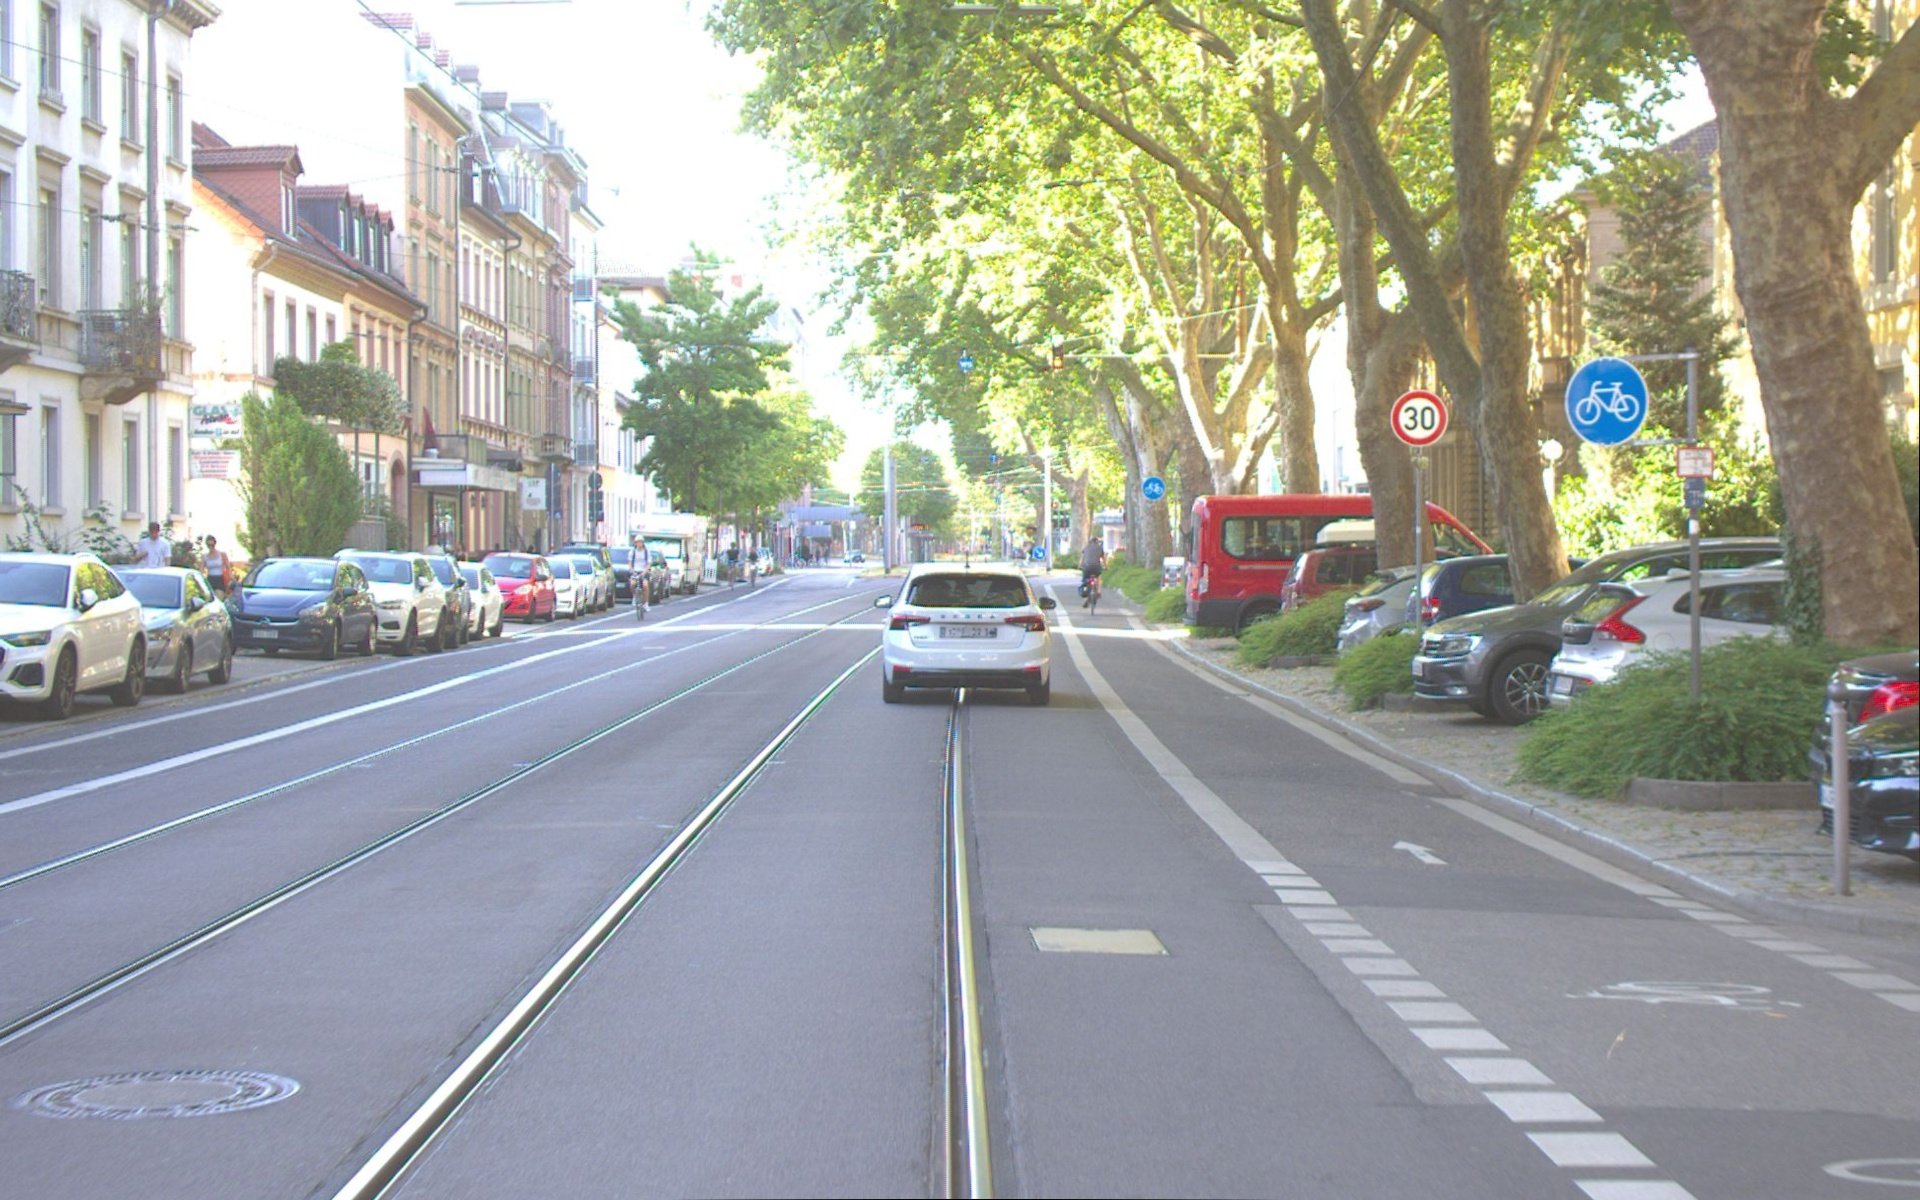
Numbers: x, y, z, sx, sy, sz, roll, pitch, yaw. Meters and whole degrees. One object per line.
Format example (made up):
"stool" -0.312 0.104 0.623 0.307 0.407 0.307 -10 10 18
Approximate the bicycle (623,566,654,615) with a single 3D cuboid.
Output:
"bicycle" -7.314 -0.212 78.185 0.481 1.082 1.846 0 1 1

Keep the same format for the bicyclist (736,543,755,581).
"bicyclist" -8.543 -1.509 136.949 0.638 1.498 1.069 -1 1 1

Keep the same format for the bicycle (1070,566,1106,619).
"bicycle" 2.841 -0.181 76.576 0.680 1.151 2.964 1 1 0

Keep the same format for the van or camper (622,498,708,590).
"van or camper" -10.468 -1.996 122.476 2.217 3.129 7.113 1 1 2

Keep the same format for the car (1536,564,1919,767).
"car" 6.720 0.484 27.114 4.027 1.475 1.681 -1 1 -1

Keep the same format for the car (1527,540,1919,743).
"car" 7.088 0.327 29.745 4.027 1.638 1.681 -1 1 -2

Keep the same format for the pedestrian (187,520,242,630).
"pedestrian" -12.368 -0.422 57.049 0.759 1.815 0.830 0 1 -3

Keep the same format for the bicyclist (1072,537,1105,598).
"bicyclist" 2.869 -0.721 76.709 0.679 1.334 0.525 1 1 0

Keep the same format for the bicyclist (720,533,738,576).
"bicyclist" -8.756 -1.731 130.509 0.535 1.629 0.896 -2 1 2

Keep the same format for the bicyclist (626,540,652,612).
"bicyclist" -7.310 -0.542 78.318 0.473 1.630 0.800 0 1 1

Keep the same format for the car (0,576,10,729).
"car" -9.657 0.503 30.313 1.699 1.415 4.001 1 1 -4

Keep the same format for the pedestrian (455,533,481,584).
"pedestrian" -14.257 -1.206 99.637 0.635 1.455 0.657 1 1 -16

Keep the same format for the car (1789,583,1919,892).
"car" 6.585 0.661 17.826 4.096 1.486 1.831 0 1 -2

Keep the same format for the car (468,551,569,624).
"car" -9.855 -0.302 76.965 1.569 1.557 3.448 0 1 4

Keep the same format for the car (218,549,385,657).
"car" -9.690 0.010 50.841 1.554 1.510 3.924 -1 1 2

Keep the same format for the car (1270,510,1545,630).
"car" 6.712 -0.442 51.808 3.818 1.643 1.767 -2 0 -2

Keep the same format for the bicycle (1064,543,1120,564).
"bicycle" 6.727 -2.365 175.176 2.772 0.996 0.592 1 1 15

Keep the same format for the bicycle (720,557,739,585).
"bicycle" -8.740 -1.113 130.514 0.484 1.044 2.039 -2 1 2

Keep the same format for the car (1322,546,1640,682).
"car" 6.330 0.161 42.051 3.595 1.512 1.694 -2 1 0

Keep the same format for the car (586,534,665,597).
"car" -10.080 -1.063 103.992 1.964 1.775 4.938 2 1 -2

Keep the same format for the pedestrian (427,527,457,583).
"pedestrian" -14.976 -1.302 99.407 0.771 1.628 0.657 1 1 -15

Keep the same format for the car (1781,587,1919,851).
"car" 7.081 0.675 20.372 4.097 1.486 1.681 0 1 5

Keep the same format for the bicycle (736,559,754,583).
"bicycle" -8.547 -1.161 137.012 0.499 0.940 1.921 -2 1 2

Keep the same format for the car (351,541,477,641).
"car" -9.704 -0.191 61.380 1.856 1.698 4.660 -1 1 -5

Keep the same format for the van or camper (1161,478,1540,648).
"van or camper" 6.347 -0.636 56.372 5.814 2.510 2.288 -2 2 -2

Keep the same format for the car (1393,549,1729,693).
"car" 6.878 0.237 39.567 3.595 1.594 1.541 0 0 1

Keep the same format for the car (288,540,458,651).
"car" -9.489 -0.112 55.891 1.857 1.698 4.763 -1 1 1

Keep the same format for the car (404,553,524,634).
"car" -9.617 -0.156 66.899 1.687 1.472 4.258 1 1 0

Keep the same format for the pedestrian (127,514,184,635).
"pedestrian" -13.382 -0.430 57.215 0.759 2.007 0.830 0 1 -2

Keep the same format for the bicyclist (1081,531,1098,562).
"bicyclist" 6.597 -2.742 175.202 0.737 1.583 0.586 0 1 13

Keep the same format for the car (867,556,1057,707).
"car" -0.033 0.288 36.051 1.842 1.475 3.839 1 1 -2

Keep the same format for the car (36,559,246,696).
"car" -9.731 0.286 41.107 1.662 1.516 4.065 1 1 -2

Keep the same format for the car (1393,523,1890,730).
"car" 6.439 0.230 32.783 4.262 1.713 1.849 -3 1 -2

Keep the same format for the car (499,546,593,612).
"car" -9.892 -0.529 82.455 1.827 1.497 4.689 1 1 -2

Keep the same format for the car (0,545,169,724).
"car" -9.671 0.301 35.737 1.786 1.717 4.718 1 1 0
